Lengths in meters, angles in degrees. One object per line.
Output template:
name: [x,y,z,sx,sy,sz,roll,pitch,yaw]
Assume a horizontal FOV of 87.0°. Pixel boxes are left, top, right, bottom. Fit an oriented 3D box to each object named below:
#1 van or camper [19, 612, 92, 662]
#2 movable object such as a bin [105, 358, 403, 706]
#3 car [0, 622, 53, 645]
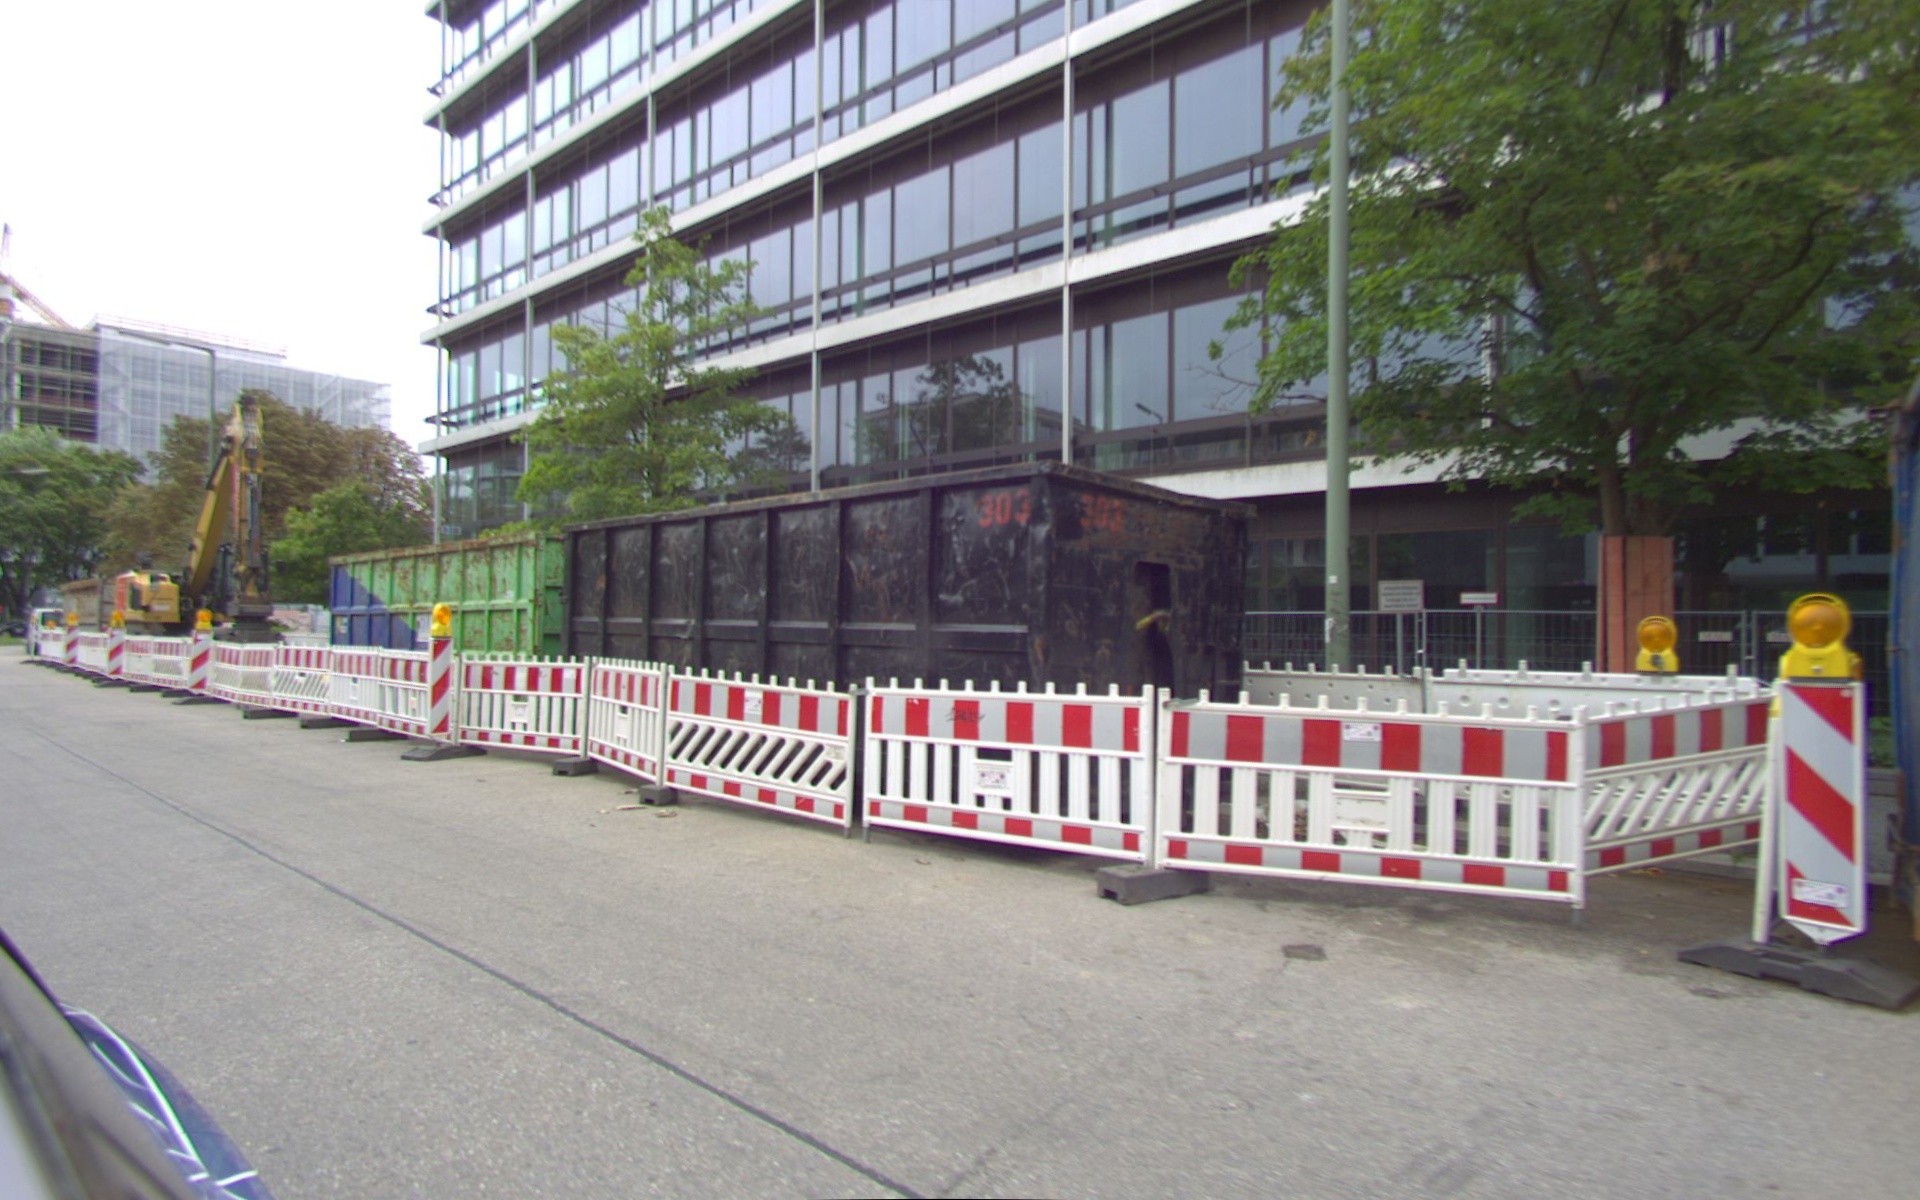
van or camper: [-39.830,1.632,44.516,5.589,2.050,1.966,-2,-4,45]
movable object such as a bin: [-17.236,-1.208,24.141,11.777,6.614,2.874,-1,-2,41]
car: [-69.244,2.428,74.065,1.775,1.584,3.863,1,-2,18]
